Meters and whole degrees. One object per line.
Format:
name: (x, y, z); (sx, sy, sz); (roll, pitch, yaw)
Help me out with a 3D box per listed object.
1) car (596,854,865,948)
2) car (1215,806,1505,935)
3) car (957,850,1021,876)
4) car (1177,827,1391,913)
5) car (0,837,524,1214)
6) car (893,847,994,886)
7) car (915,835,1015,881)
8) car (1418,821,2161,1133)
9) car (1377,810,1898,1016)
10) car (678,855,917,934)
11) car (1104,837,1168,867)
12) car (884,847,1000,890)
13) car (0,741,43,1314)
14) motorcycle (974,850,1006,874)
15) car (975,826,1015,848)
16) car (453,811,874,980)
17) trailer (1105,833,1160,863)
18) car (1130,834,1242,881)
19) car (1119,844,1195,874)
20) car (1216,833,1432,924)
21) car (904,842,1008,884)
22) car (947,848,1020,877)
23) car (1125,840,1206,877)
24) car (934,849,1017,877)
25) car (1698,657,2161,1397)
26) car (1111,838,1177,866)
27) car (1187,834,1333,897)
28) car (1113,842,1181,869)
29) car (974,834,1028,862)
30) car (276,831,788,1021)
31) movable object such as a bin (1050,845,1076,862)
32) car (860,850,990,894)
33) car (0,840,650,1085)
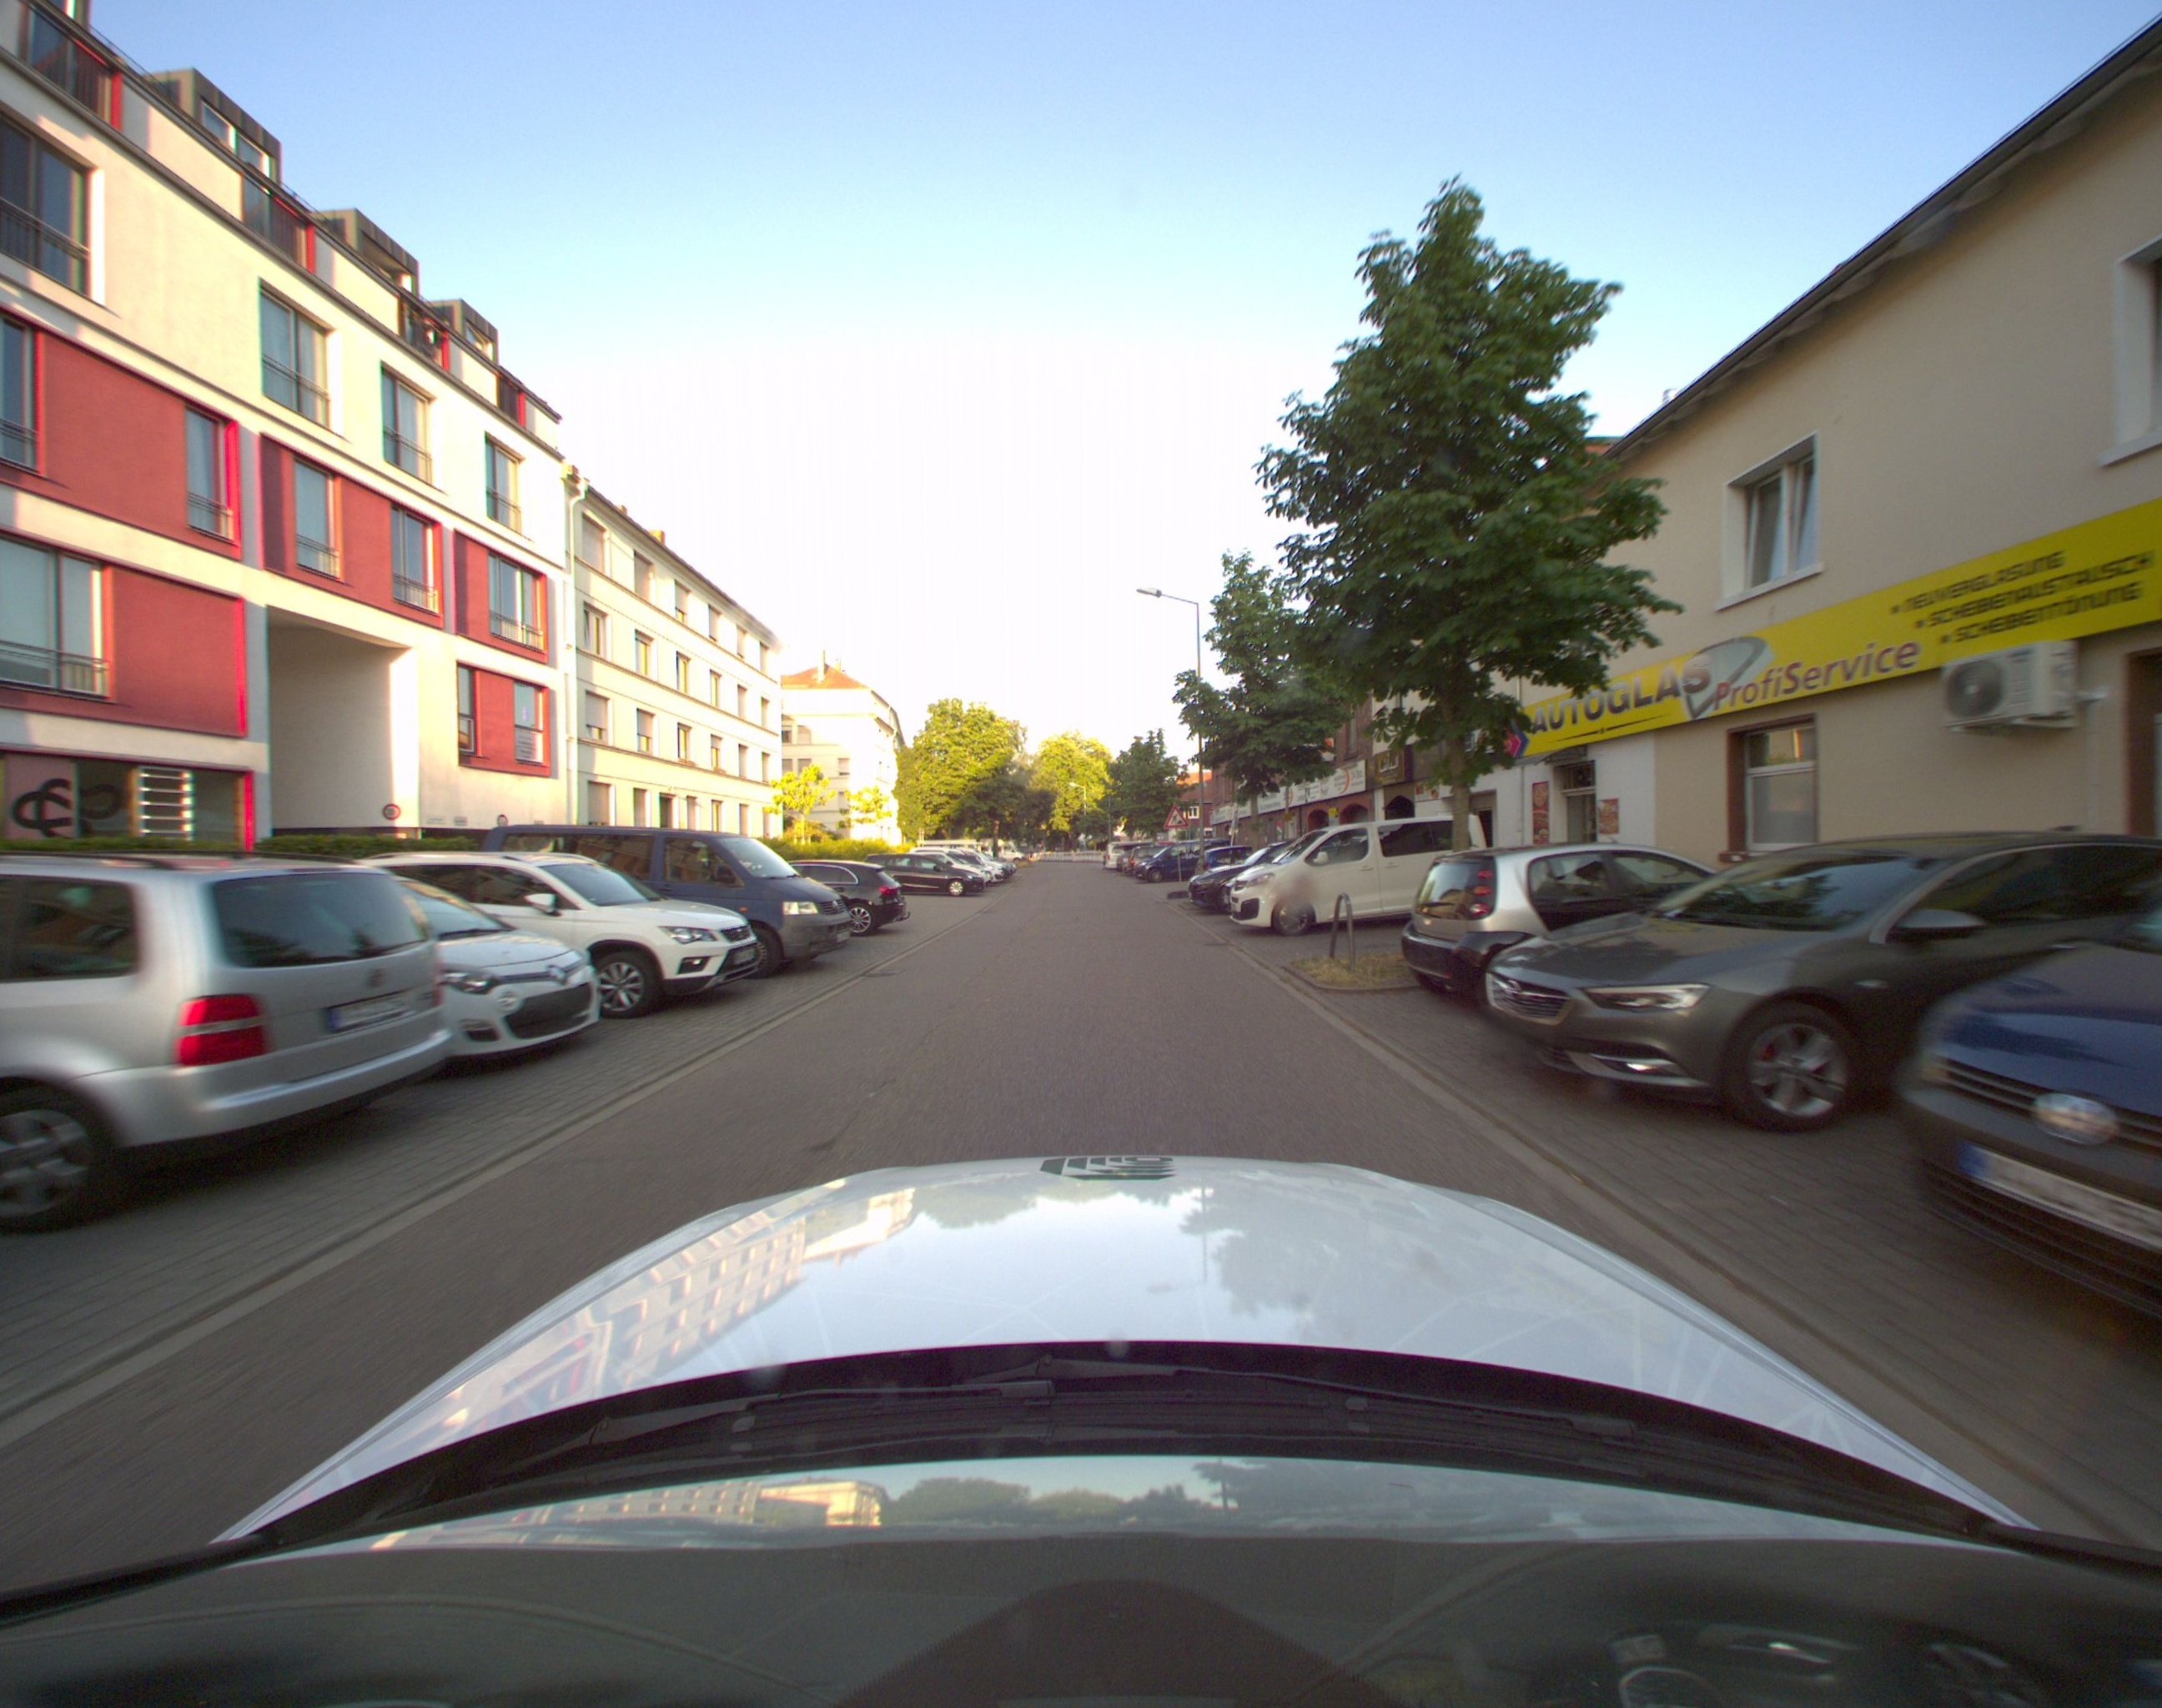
car: (-5.886, 0.763, 14.040); (3.875, 1.493, 1.652); (1, 0, -3)
car: (4.953, 0.285, 14.996); (4.571, 1.861, 2.012); (-4, 0, 1)
car: (-5.627, 0.552, 49.939); (3.701, 1.506, 1.690); (-1, 0, 0)
car: (4.836, 0.369, 19.961); (4.678, 1.631, 2.001); (-5, 0, 1)
car: (-5.728, 0.771, 4.349); (3.985, 1.589, 2.047); (-2, 0, -9)
car: (-5.827, 0.511, 34.837); (3.977, 1.484, 1.754); (2, 0, -2)
car: (-5.611, 0.154, 39.896); (4.495, 2.070, 2.001); (2, 1, 2)
car: (4.905, 0.594, 5.171); (4.707, 1.496, 1.999); (-2, 0, -1)
car: (5.027, 0.490, 7.720); (3.775, 1.496, 1.680); (-4, 0, -2)
car: (-5.485, 0.769, 16.208); (4.131, 1.416, 1.736); (1, 0, -5)
car: (3.523, -0.128, 52.879); (3.977, 1.904, 1.998); (-1, 0, -3)
car: (-5.448, 0.545, 32.311); (4.231, 1.620, 1.812); (1, 1, -1)
car: (-5.681, 0.631, 1.841); (4.163, 1.895, 1.898); (-2, 0, 0)
motorcycle: (-5.781, 0.492, 51.609); (1.983, 1.436, 0.720); (-1, 0, -7)
car: (-10.043, -1.994, 94.887); (4.501, 2.431, 1.994); (-1, 0, -9)
car: (-5.644, 0.536, 11.453); (4.834, 2.054, 2.002); (-2, 0, 3)
trailer: (3.913, -0.470, 62.246); (3.976, 2.187, 1.999); (-1, 0, -2)
car: (4.771, 0.136, 37.602); (4.774, 1.753, 2.016); (-4, 1, -2)
car: (4.215, 0.284, 45.558); (3.939, 1.565, 1.817); (-1, 0, -5)
car: (5.038, 0.487, 17.320); (3.973, 1.496, 1.892); (-5, 0, 1)
car: (-5.647, 0.391, 37.169); (4.406, 1.802, 1.944); (1, 0, 1)
car: (-5.642, 0.465, 47.397); (3.974, 1.583, 1.728); (-1, 0, 0)
car: (4.431, 0.228, 43.006); (3.978, 1.618, 1.893); (-4, 0, -3)
car: (-5.827, 0.487, 45.263); (4.312, 1.405, 1.851); (1, 0, 0)
car: (4.833, 0.323, 2.509); (4.277, 1.858, 2.001); (-3, 0, 1)
car: (4.278, -0.142, 55.526); (4.289, 1.799, 1.903); (-1, 0, -2)
car: (5.397, 0.332, 24.964); (3.975, 1.545, 1.844); (-5, 0, -1)
car: (4.030, 0.087, 49.997); (3.976, 1.509, 1.775); (-1, 0, -2)
car: (-7.433, -0.547, 75.912); (4.717, 2.569, 2.000); (-1, 0, -1)
car: (-5.632, 0.688, 8.798); (4.171, 1.723, 1.902); (-2, 0, 0)
movable object such as a bin: (-2.663, -0.056, 120.553); (2.634, 2.402, 5.169); (-1, 0, -16)
car: (-5.588, 0.631, 29.624); (4.398, 1.452, 1.826); (1, 0, -3)
car: (-5.934, 0.746, 6.499); (3.975, 1.618, 1.797); (-1, 0, -1)
